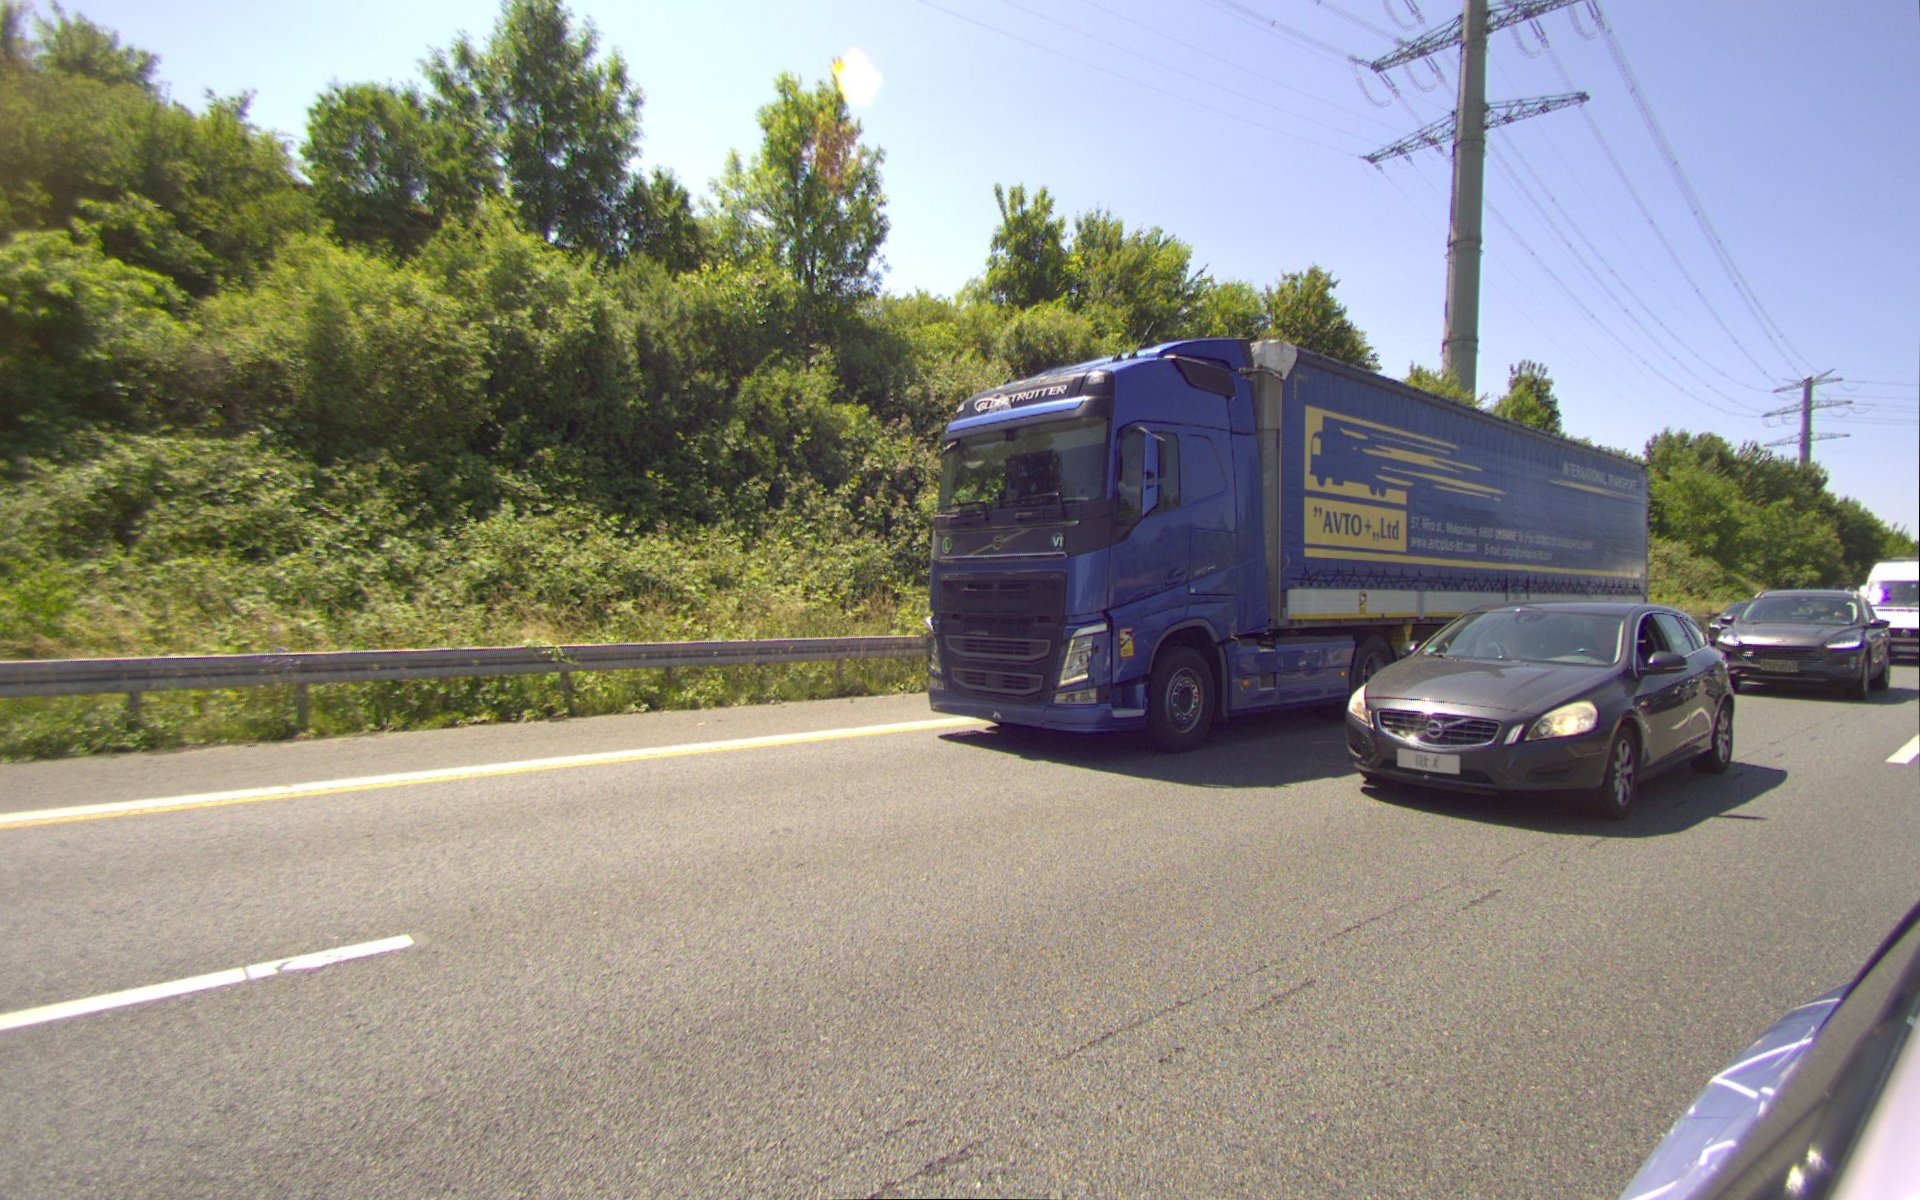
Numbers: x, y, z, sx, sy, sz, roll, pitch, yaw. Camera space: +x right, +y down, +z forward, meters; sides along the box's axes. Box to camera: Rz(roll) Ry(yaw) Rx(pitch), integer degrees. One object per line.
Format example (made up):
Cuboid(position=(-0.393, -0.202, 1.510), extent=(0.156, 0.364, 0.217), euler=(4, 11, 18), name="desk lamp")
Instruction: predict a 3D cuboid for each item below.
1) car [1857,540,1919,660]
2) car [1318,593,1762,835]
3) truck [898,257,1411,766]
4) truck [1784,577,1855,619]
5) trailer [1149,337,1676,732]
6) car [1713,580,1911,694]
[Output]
Cuboid(position=(24.336, -0.019, 25.328), extent=(6.590, 2.753, 2.040), euler=(0, 0, -41), name="car")
Cuboid(position=(4.868, 0.667, 8.188), extent=(4.432, 1.437, 1.798), euler=(0, 0, -41), name="car")
Cuboid(position=(2.348, -0.751, 11.231), extent=(5.538, 4.197, 2.790), euler=(0, 0, -41), name="truck")
Cuboid(position=(47.170, -0.126, 55.508), extent=(5.630, 2.195, 2.251), euler=(0, 0, -42), name="truck")
Cuboid(position=(8.103, -0.763, 16.298), extent=(12.655, 4.317, 2.771), euler=(0, 0, -42), name="trailer")
Cuboid(position=(13.956, 0.509, 16.499), extent=(4.147, 1.631, 1.891), euler=(0, 0, -41), name="car")
